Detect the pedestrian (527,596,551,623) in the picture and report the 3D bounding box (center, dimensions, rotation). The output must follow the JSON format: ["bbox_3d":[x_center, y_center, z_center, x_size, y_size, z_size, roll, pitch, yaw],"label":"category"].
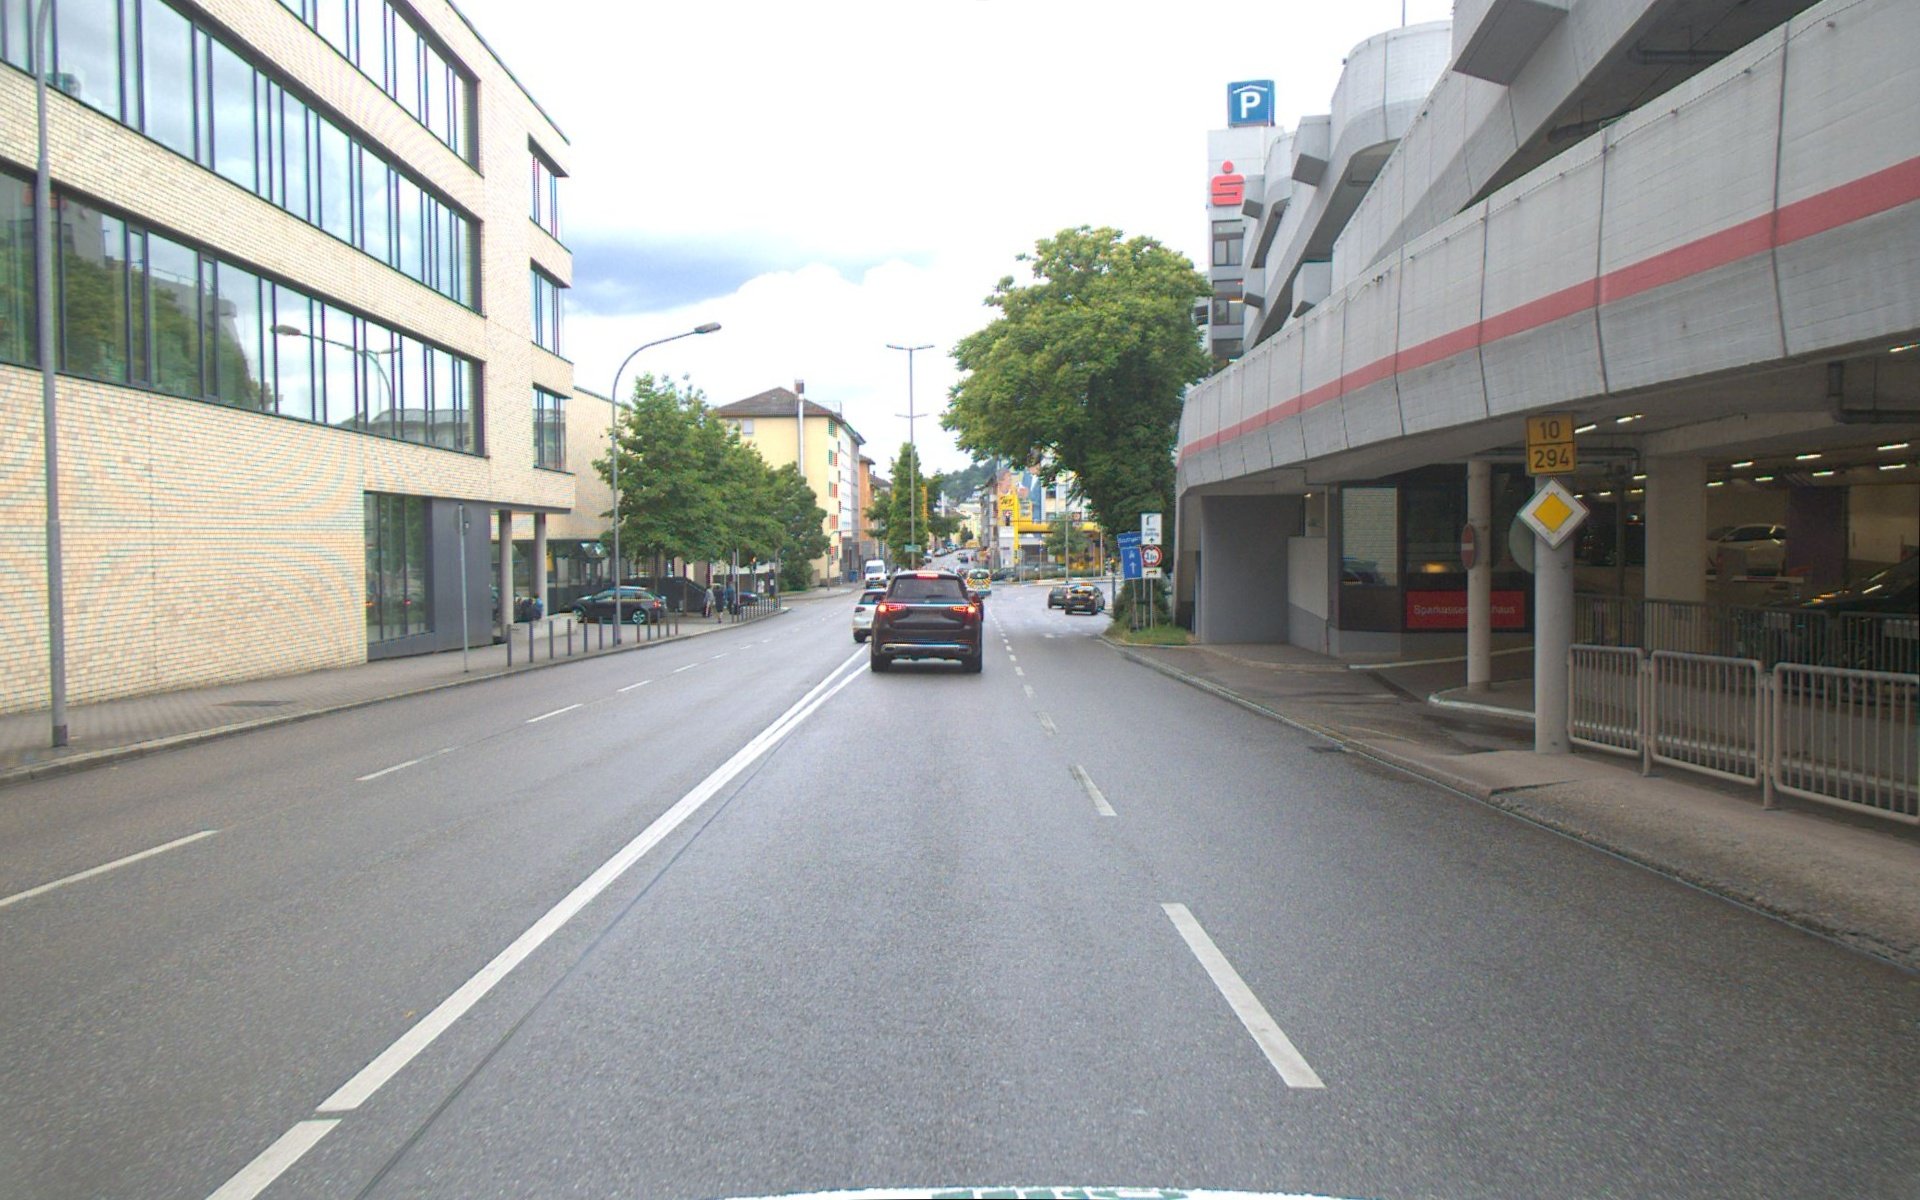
[{"bbox_3d":[-13.519,0.289,53.159,0.574,0.859,0.727,0,0,0],"label":"pedestrian"}]

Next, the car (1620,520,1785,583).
[{"bbox_3d":[21.235,-1.388,47.451,3.902,1.668,2.002,1,0,9],"label":"car"}]

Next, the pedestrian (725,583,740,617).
[{"bbox_3d":[-12.281,-0.004,89.217,0.674,1.756,0.754,1,-3,0],"label":"pedestrian"}]

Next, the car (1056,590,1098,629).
[{"bbox_3d":[6.572,0.514,93.136,1.953,2.049,3.999,1,1,-2],"label":"car"}]

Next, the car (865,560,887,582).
[{"bbox_3d":[-8.196,-2.803,161.293,1.953,1.908,5.140,1,0,-1],"label":"car"}]

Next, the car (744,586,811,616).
[{"bbox_3d":[-13.031,0.048,117.846,4.714,2.049,1.997,0,1,-8],"label":"car"}]

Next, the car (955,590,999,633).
[{"bbox_3d":[0.699,0.493,71.173,1.669,1.746,3.441,1,0,-3],"label":"car"}]

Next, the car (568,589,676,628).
[{"bbox_3d":[-14.560,0.351,71.435,4.382,1.615,1.997,0,0,-6],"label":"car"}]

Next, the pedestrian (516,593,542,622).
[{"bbox_3d":[-13.806,0.244,52.949,0.667,0.901,0.524,1,-1,0],"label":"pedestrian"}]

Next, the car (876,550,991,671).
[{"bbox_3d":[-0.486,0.197,30.639,1.953,2.049,3.999,1,0,-1],"label":"car"}]

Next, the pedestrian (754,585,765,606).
[{"bbox_3d":[-15.044,-0.334,123.988,0.697,1.487,0.598,1,-1,-1],"label":"pedestrian"}]

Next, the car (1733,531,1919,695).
[{"bbox_3d":[10.952,0.168,17.749,4.478,1.668,1.823,1,0,12],"label":"car"}]

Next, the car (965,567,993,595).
[{"bbox_3d":[1.441,-1.424,126.708,1.953,2.049,3.999,1,0,-1],"label":"car"}]

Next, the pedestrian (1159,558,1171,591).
[{"bbox_3d":[9.598,-1.189,77.444,0.539,1.559,0.488,1,-1,6],"label":"pedestrian"}]

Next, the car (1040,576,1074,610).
[{"bbox_3d":[6.161,-0.427,105.246,1.952,2.049,4.000,1,0,1],"label":"car"}]

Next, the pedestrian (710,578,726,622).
[{"bbox_3d":[-11.309,0.004,77.278,0.576,2.049,0.749,1,-1,-2],"label":"pedestrian"}]

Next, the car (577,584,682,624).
[{"bbox_3d":[-14.671,0.169,73.540,4.330,1.601,1.998,1,2,-5],"label":"car"}]

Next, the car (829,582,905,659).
[{"bbox_3d":[-2.609,0.572,46.996,1.953,2.049,3.999,1,0,-1],"label":"car"}]

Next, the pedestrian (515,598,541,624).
[{"bbox_3d":[-13.660,0.340,52.289,0.585,0.800,0.760,1,0,0],"label":"pedestrian"}]
